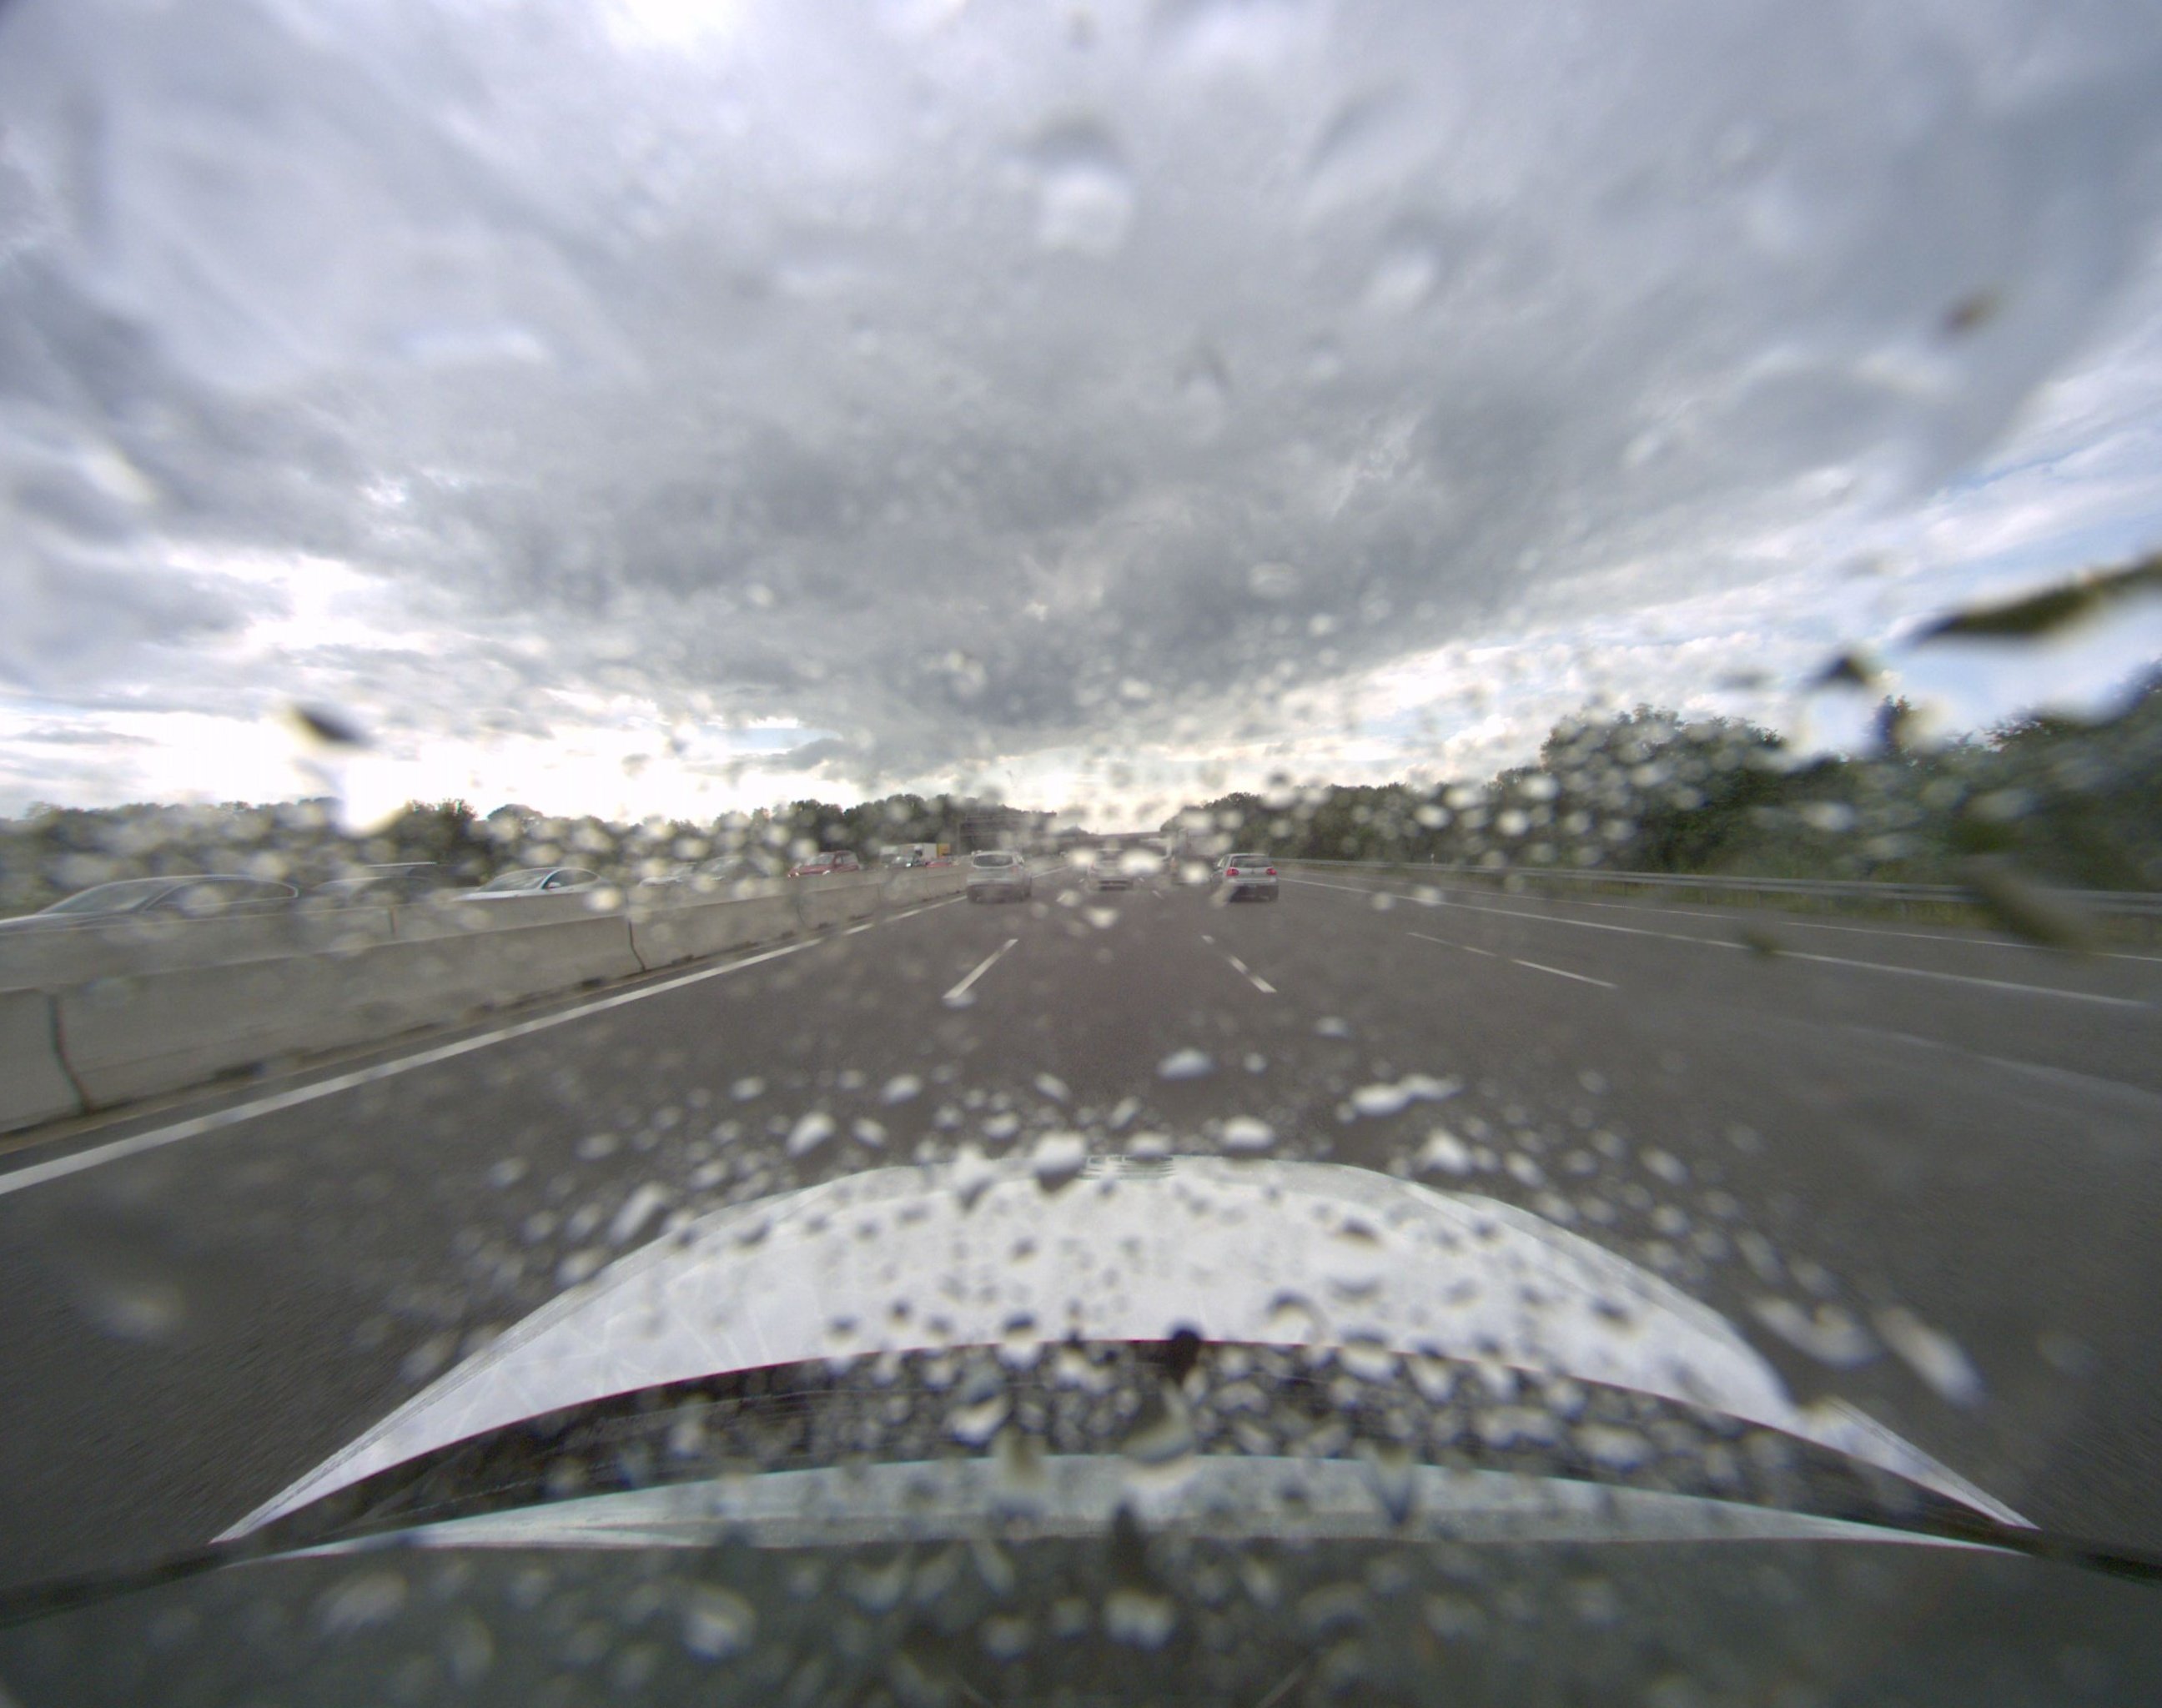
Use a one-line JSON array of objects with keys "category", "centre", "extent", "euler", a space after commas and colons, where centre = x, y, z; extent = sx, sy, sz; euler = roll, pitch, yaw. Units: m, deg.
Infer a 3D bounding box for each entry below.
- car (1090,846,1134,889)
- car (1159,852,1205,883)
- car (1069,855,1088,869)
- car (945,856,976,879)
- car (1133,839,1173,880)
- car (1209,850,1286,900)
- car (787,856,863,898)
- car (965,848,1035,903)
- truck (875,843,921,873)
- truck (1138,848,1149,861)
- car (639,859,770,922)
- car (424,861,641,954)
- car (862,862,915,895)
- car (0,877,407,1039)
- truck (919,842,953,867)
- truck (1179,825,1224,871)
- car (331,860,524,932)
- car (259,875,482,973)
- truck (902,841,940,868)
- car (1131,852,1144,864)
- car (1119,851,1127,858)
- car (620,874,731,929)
[{"category": "car", "centre": [1.323, 0.557, 35.633], "extent": [1.774, 1.716, 4.354], "euler": [-1, 0, 2]}, {"category": "car", "centre": [4.932, 0.648, 40.182], "extent": [1.878, 1.407, 4.284], "euler": [-1, 0, 2]}, {"category": "car", "centre": [-0.240, 0.854, 89.654], "extent": [1.773, 1.481, 4.356], "euler": [-1, 0, 3]}, {"category": "car", "centre": [-11.123, 1.201, 75.382], "extent": [1.986, 2.013, 4.427], "euler": [-1, 0, 2]}, {"category": "car", "centre": [5.389, 0.369, 61.775], "extent": [2.557, 2.895, 7.537], "euler": [-1, 0, 2]}, {"category": "car", "centre": [5.293, 0.635, 26.384], "extent": [1.788, 1.477, 4.040], "euler": [-1, 0, 2]}, {"category": "car", "centre": [-13.041, 1.120, 41.887], "extent": [1.986, 2.013, 5.421], "euler": [-1, 0, 2]}, {"category": "car", "centre": [-2.693, 0.664, 28.103], "extent": [1.809, 1.689, 4.853], "euler": [-1, 0, 1]}, {"category": "truck", "centre": [-21.461, 0.413, 95.924], "extent": [2.898, 3.290, 9.207], "euler": [-1, 0, 2]}, {"category": "truck", "centre": [18.302, 0.074, 239.072], "extent": [2.893, 3.810, 7.280], "euler": [-1, 0, 3]}, {"category": "car", "centre": [-13.344, 1.216, 29.327], "extent": [1.986, 2.013, 5.421], "euler": [-1, 0, 2]}, {"category": "car", "centre": [-13.658, 1.221, 20.761], "extent": [1.986, 2.013, 4.974], "euler": [-1, 0, 2]}, {"category": "car", "centre": [-11.939, 1.472, 50.750], "extent": [1.985, 1.904, 4.506], "euler": [-1, 0, 3]}, {"category": "car", "centre": [-13.629, 1.447, 12.996], "extent": [1.986, 2.013, 4.352], "euler": [-1, 0, 2]}, {"category": "truck", "centre": [-22.215, 0.109, 125.237], "extent": [2.866, 3.612, 9.588], "euler": [-1, 0, 3]}, {"category": "truck", "centre": [10.574, -0.493, 72.279], "extent": [3.119, 3.709, 9.858], "euler": [-1, 0, 4]}, {"category": "car", "centre": [-20.490, 1.224, 25.883], "extent": [1.984, 2.013, 4.832], "euler": [-1, 0, 4]}, {"category": "car", "centre": [-16.800, 1.560, 19.538], "extent": [1.986, 2.013, 3.713], "euler": [-1, 0, 2]}, {"category": "truck", "centre": [-22.716, 0.054, 116.290], "extent": [2.866, 3.612, 10.320], "euler": [-1, 0, 3]}, {"category": "car", "centre": [9.172, 0.672, 133.062], "extent": [2.035, 1.823, 4.908], "euler": [-1, 0, 3]}, {"category": "car", "centre": [10.642, 0.063, 207.777], "extent": [1.875, 1.686, 3.999], "euler": [-1, 0, 0]}, {"category": "car", "centre": [-16.760, 1.905, 34.023], "extent": [1.986, 2.013, 4.974], "euler": [-1, 0, 2]}]
